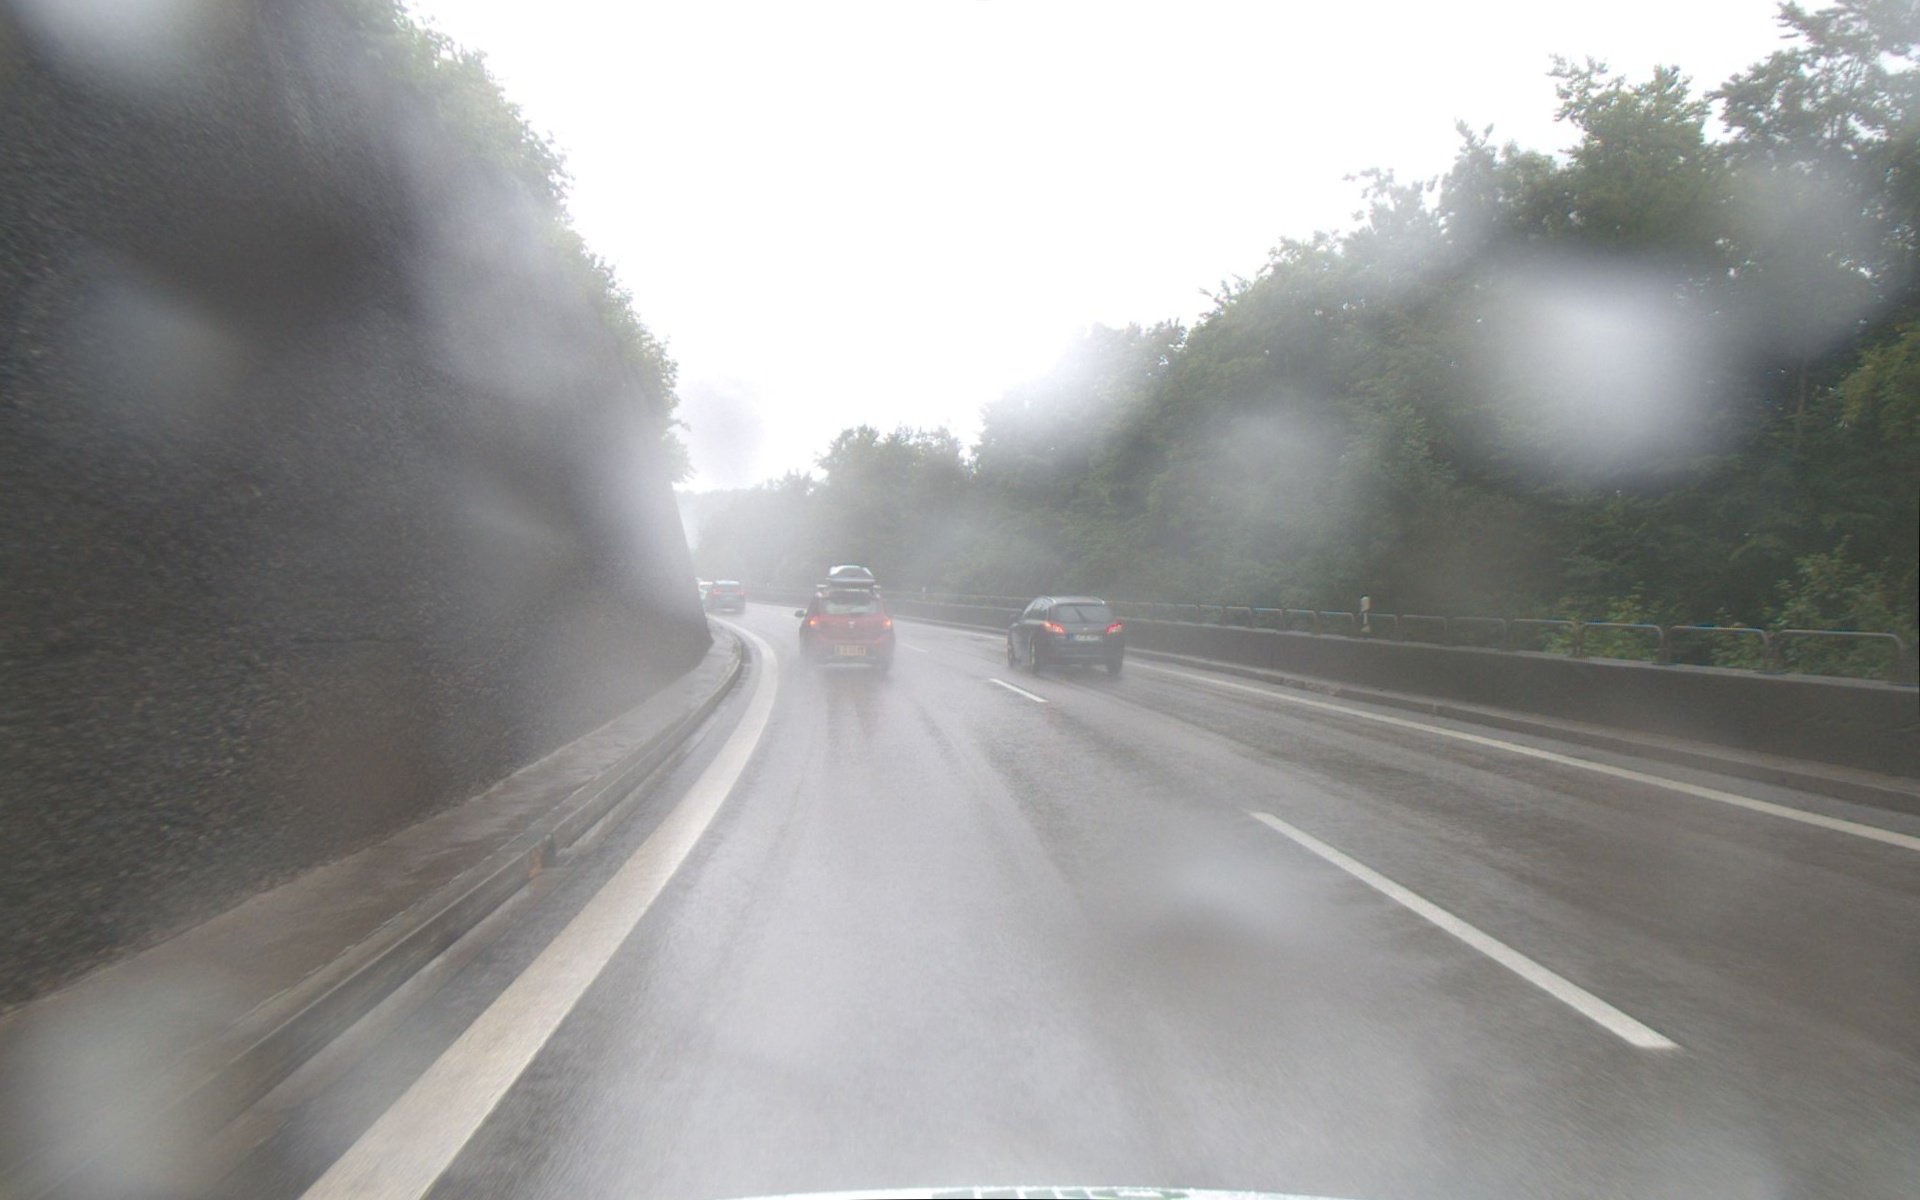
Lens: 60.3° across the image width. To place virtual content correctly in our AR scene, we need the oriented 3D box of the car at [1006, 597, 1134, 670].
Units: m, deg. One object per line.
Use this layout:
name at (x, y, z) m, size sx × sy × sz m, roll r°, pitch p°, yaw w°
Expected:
car at (2.114, 0.635, 32.757) m, size 1.766 × 1.330 × 3.993 m, roll 1°, pitch 0°, yaw -8°

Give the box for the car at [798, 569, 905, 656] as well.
car at (-2.204, 0.243, 32.718) m, size 1.955 × 1.579 × 3.995 m, roll 1°, pitch 0°, yaw -6°

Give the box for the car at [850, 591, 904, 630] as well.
car at (-3.641, 0.434, 71.736) m, size 1.956 × 1.579 × 3.992 m, roll 1°, pitch 1°, yaw -9°

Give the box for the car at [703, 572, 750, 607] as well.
car at (-12.254, -0.528, 86.606) m, size 1.960 × 1.713 × 3.985 m, roll 2°, pitch -1°, yaw -14°
